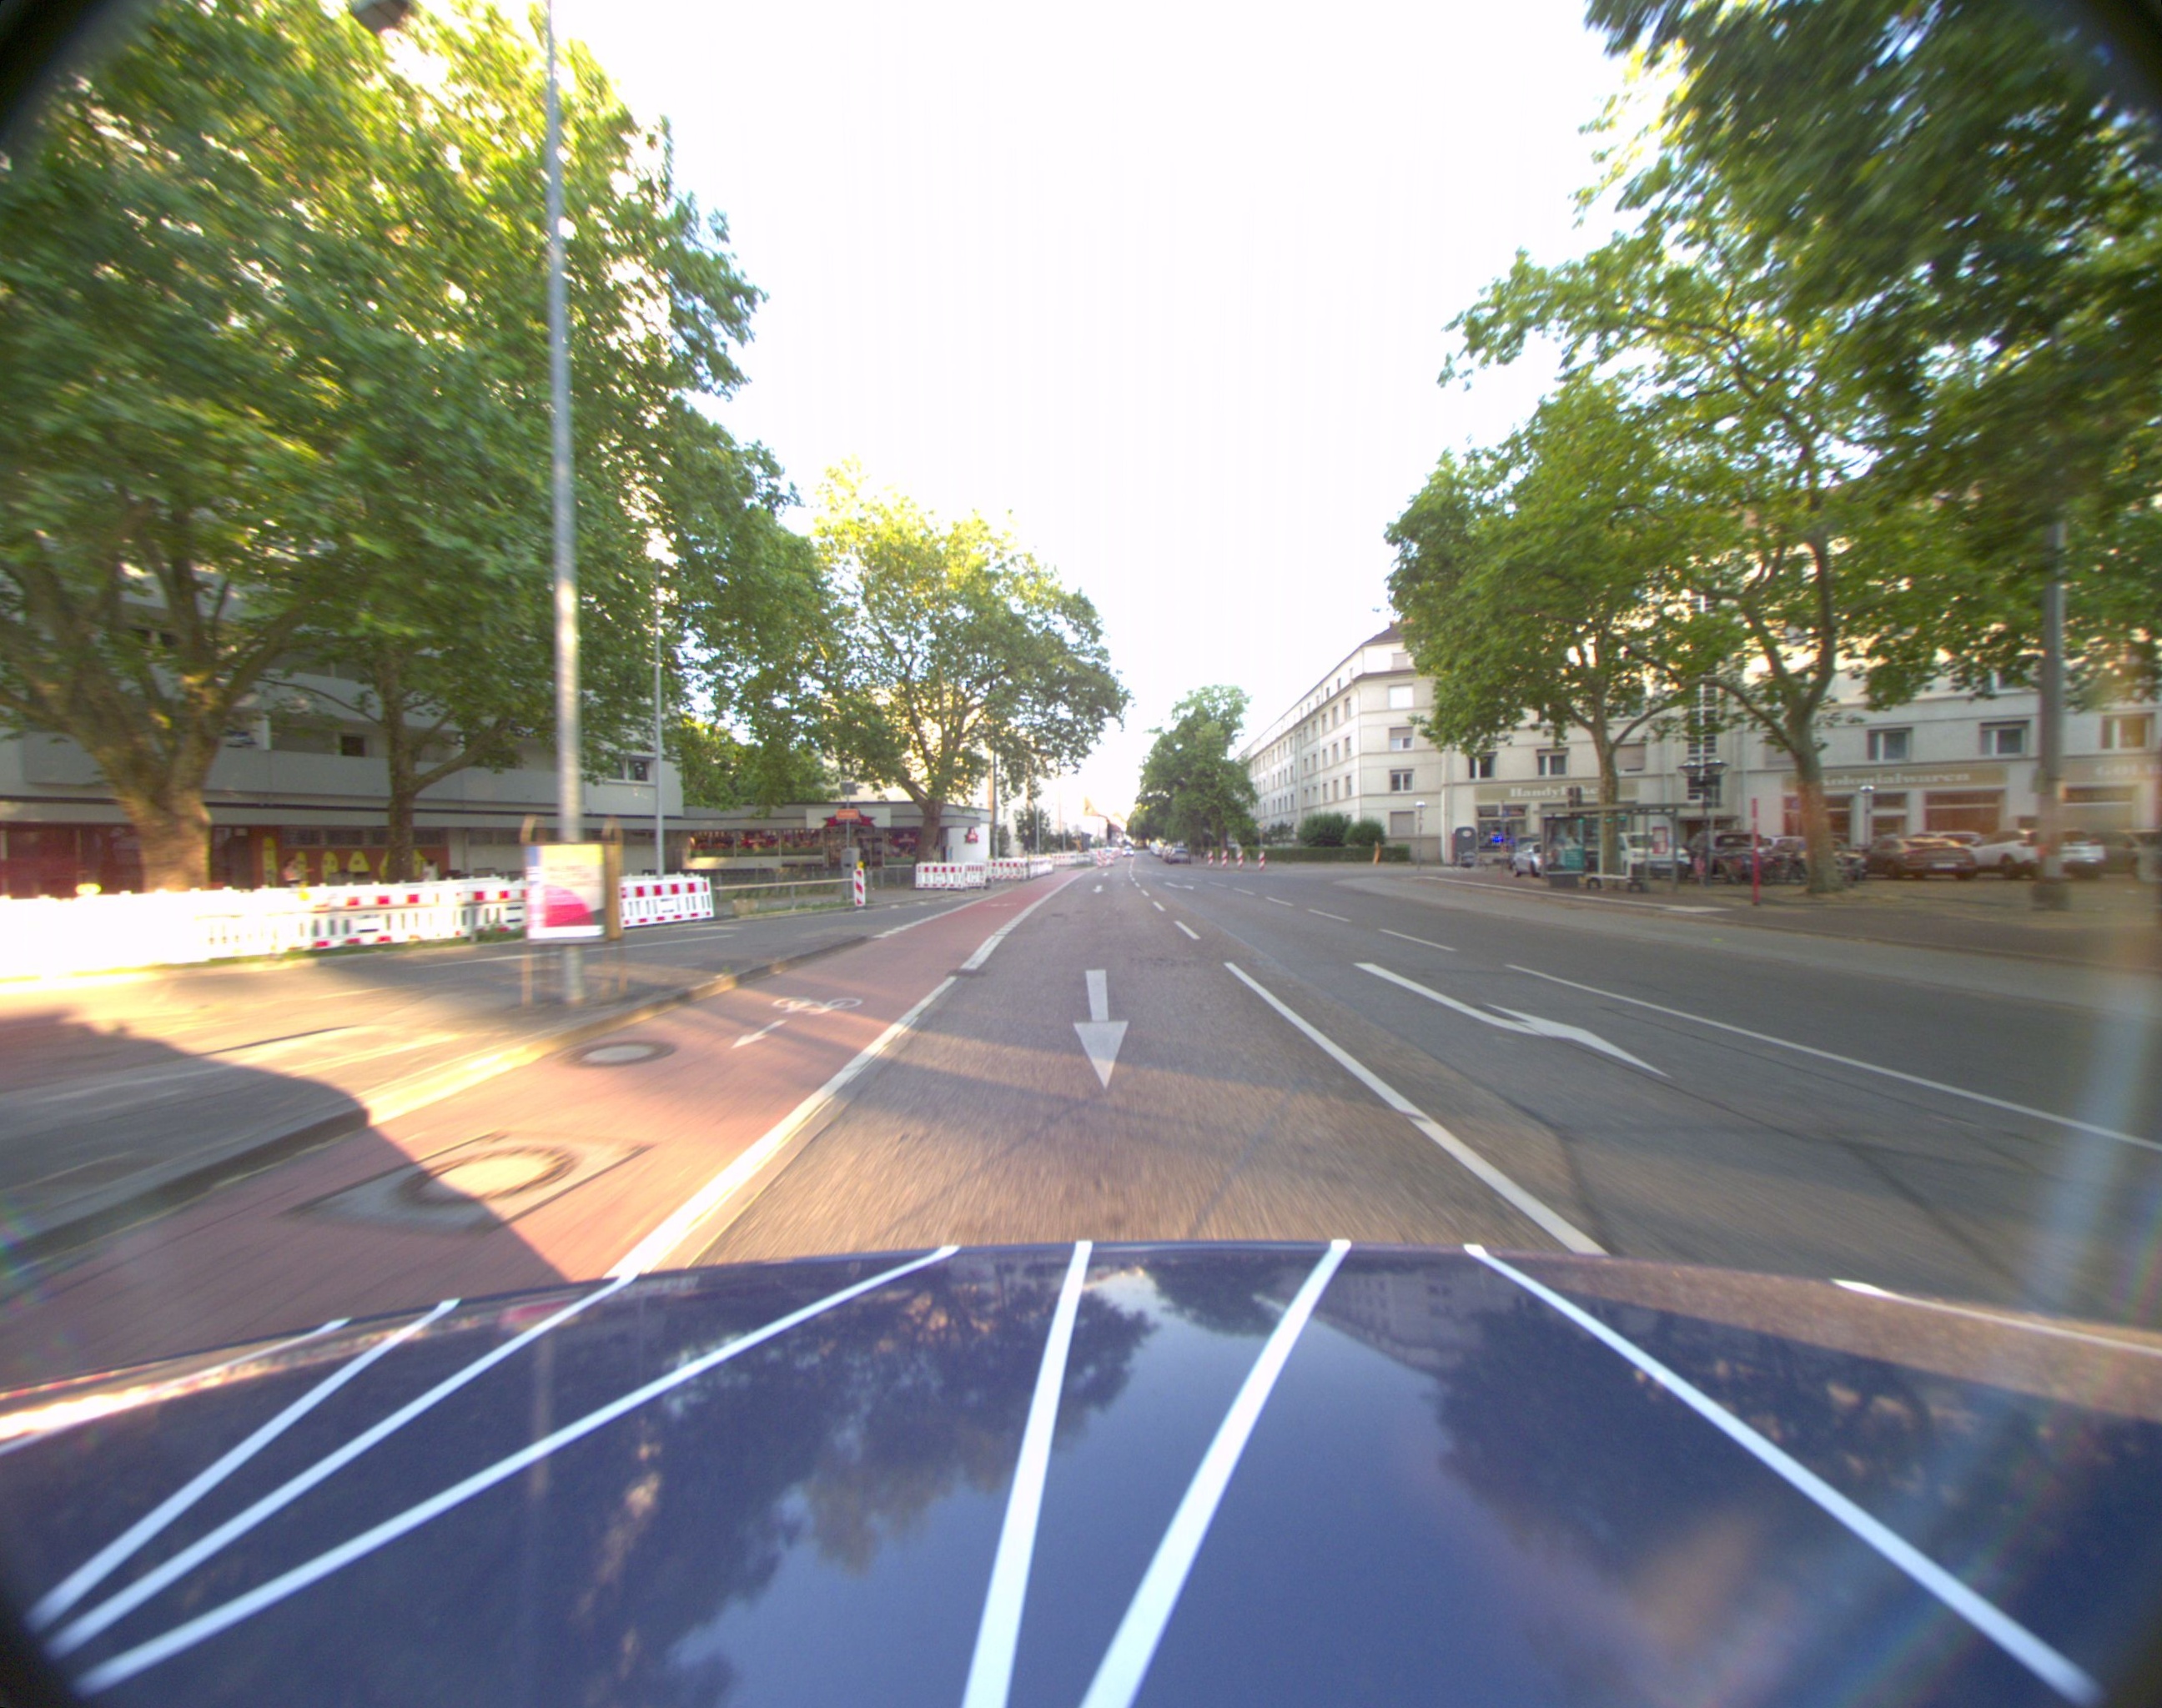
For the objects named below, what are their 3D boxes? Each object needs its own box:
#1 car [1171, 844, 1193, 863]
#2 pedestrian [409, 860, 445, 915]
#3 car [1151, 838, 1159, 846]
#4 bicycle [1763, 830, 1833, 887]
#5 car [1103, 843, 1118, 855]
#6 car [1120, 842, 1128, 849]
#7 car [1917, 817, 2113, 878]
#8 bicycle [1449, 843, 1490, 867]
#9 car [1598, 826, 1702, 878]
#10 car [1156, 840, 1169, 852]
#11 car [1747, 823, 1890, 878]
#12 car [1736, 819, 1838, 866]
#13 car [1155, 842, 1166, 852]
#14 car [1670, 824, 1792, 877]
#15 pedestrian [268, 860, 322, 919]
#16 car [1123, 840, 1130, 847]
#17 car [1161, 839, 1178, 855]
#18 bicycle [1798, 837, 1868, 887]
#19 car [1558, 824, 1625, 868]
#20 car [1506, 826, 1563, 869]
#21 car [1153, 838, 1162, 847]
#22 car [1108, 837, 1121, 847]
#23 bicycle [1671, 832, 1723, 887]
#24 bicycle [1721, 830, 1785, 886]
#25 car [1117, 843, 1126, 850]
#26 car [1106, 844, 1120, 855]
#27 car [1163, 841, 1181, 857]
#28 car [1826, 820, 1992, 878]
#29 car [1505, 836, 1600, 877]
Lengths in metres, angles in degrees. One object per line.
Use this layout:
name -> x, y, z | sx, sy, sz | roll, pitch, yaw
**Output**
car -> 9.224, -0.053, 69.854 | 1.892, 1.591, 4.000 | -2, 2, 6
pedestrian -> -19.427, 0.982, 22.563 | 0.744, 1.580, 0.642 | 0, 3, 44
car -> 17.744, -2.896, 182.019 | 1.892, 1.591, 4.260 | -2, 2, 6
bicycle -> 22.055, 0.101, 23.442 | 0.807, 1.605, 2.749 | -1, 2, 26
car -> 4.526, -0.781, 116.803 | 1.892, 1.591, 4.260 | -2, 2, 6
car -> 11.281, -2.211, 200.525 | 1.892, 1.591, 4.260 | -2, 2, 6
car -> 30.069, -0.196, 24.726 | 1.995, 1.771, 4.648 | 0, 0, 22
bicycle -> 20.008, 0.054, 39.176 | 1.802, 1.199, 0.648 | -1, 3, 34
car -> 21.183, -0.078, 28.537 | 1.995, 1.771, 4.648 | 0, 0, 22
car -> 13.284, -1.298, 123.847 | 1.892, 1.855, 4.260 | -2, 2, 6
car -> 25.746, -0.118, 26.773 | 1.995, 1.771, 4.648 | 0, 0, 22
car -> 32.446, -0.594, 35.099 | 1.995, 1.945, 4.646 | 0, 4, 24
car -> 13.982, -1.287, 133.510 | 1.892, 1.591, 4.260 | -2, 2, 6
car -> 23.643, -0.114, 27.873 | 1.995, 1.771, 4.648 | 0, 0, 22
pedestrian -> -22.044, 0.985, 21.322 | 0.641, 1.580, 0.746 | -2, 2, -5
car -> 12.686, -2.930, 212.113 | 1.892, 1.591, 4.260 | -2, 2, 6
car -> 10.578, -0.841, 91.093 | 1.892, 1.764, 4.260 | -2, 2, 6
bicycle -> 22.920, 0.200, 23.220 | 0.690, 1.376, 2.749 | -1, 2, 26
car -> 25.561, -0.470, 38.215 | 1.995, 1.945, 4.646 | 0, 4, 24
car -> 23.218, -0.395, 39.069 | 1.995, 1.945, 4.646 | 0, 4, 24
car -> 15.917, -2.386, 157.739 | 1.892, 1.868, 4.946 | -2, 2, 6
car -> 6.101, -2.169, 137.565 | 1.892, 1.651, 4.260 | -2, 2, 6
bicycle -> 19.559, 0.149, 24.173 | 0.690, 1.605, 2.749 | -1, 2, 26
bicycle -> 21.044, 0.101, 23.844 | 0.807, 1.605, 2.749 | -1, 2, 26
car -> 9.193, -1.701, 171.954 | 1.892, 1.591, 4.260 | -2, 2, 6
car -> 5.457, -0.771, 129.082 | 1.892, 1.726, 4.260 | -2, 2, 6
car -> 10.228, -0.548, 85.155 | 1.892, 1.591, 4.260 | -2, 2, 6
car -> 27.919, -0.156, 25.863 | 1.995, 1.771, 4.648 | 0, 0, 22
car -> 18.620, 0.077, 30.254 | 1.996, 1.495, 4.646 | 0, 0, 16
